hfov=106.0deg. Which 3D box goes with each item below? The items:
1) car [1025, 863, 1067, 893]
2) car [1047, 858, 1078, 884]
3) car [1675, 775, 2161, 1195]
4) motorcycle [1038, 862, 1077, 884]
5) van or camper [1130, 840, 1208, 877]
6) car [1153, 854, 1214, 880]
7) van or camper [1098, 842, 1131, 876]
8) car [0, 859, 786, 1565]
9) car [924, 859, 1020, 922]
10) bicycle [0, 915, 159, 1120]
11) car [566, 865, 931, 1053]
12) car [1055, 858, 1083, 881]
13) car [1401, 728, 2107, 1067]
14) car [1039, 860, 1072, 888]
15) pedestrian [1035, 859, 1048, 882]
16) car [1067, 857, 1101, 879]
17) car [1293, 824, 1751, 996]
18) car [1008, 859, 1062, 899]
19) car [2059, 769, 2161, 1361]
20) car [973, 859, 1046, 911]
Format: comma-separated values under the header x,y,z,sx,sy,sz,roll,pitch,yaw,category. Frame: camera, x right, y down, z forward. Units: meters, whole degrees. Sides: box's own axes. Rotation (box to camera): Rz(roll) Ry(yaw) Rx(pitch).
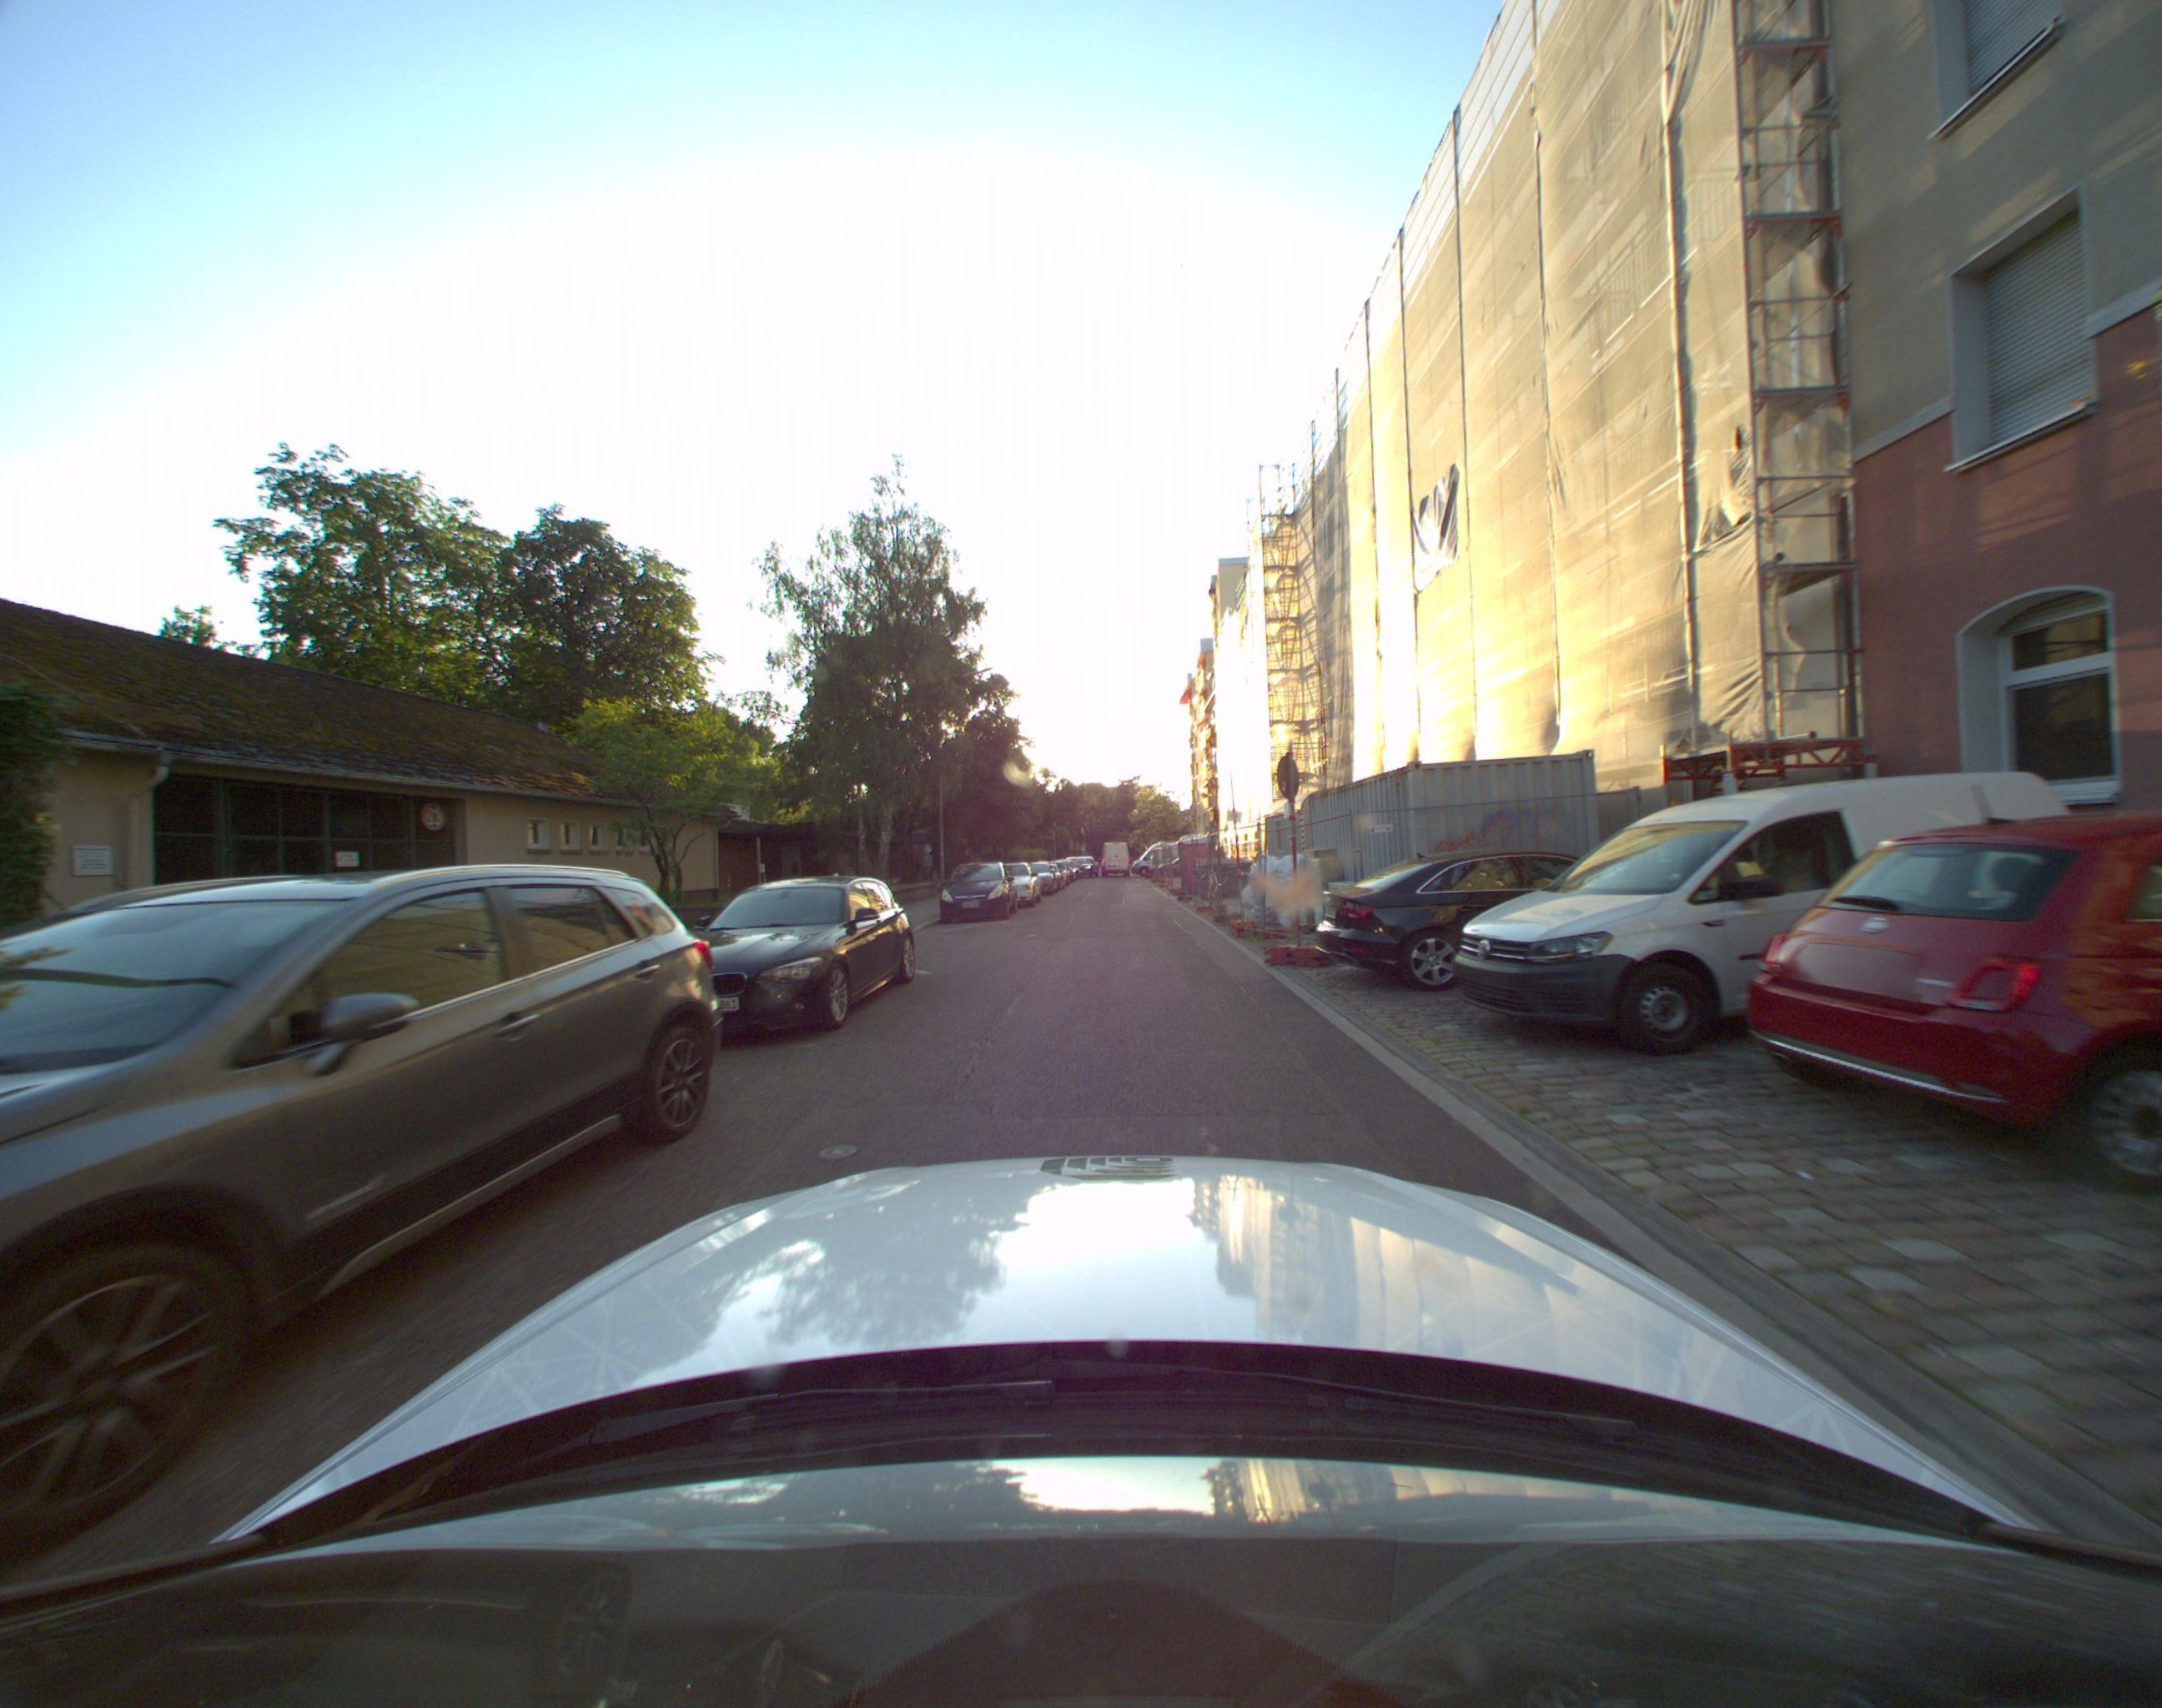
x,y,z,sx,sy,sz,roll,pitch,yaw,category
-1.684,1.178,40.777,1.652,1.313,4.157,-3,-1,3,car
-1.176,1.081,52.943,1.709,1.496,4.361,-3,-1,1,car
5.447,0.461,4.061,3.680,1.610,1.745,-2,-1,-1,car
-1.436,1.134,49.754,2.147,1.303,0.883,-1,-1,16,motorcycle
6.822,0.355,63.617,5.907,2.770,2.110,-1,-1,1,van or camper
7.252,0.930,57.962,3.977,1.515,2.017,-4,-1,-3,car
2.624,0.379,63.219,2.444,2.547,6.086,0,-1,2,van or camper
-3.256,0.811,3.534,1.985,1.519,4.792,-2,0,3,car
-2.765,0.889,21.556,1.988,1.453,3.998,-2,0,-1,car
-6.475,0.968,4.487,0.541,1.118,1.955,-1,0,1,bicycle
-3.117,0.887,8.790,1.985,1.453,4.291,-2,0,3,car
-0.818,1.095,58.089,1.630,1.478,3.996,-3,-1,3,car
5.090,0.250,6.511,4.260,1.980,1.818,-4,0,-6,car
-1.440,1.106,46.536,1.595,1.431,3.804,-5,-1,1,car
-3.123,1.298,64.056,0.934,1.830,0.787,-1,-1,1,pedestrian
0.289,1.051,62.858,1.793,1.569,4.577,-3,-1,10,car
4.698,0.583,9.225,4.135,1.615,1.873,-2,-1,3,car
-1.942,1.033,35.494,1.853,1.538,4.760,-3,-1,2,car
4.831,0.489,1.501,3.953,1.572,1.788,-2,-1,-1,car
-2.259,0.963,27.033,1.776,1.445,4.750,-4,-1,2,car
